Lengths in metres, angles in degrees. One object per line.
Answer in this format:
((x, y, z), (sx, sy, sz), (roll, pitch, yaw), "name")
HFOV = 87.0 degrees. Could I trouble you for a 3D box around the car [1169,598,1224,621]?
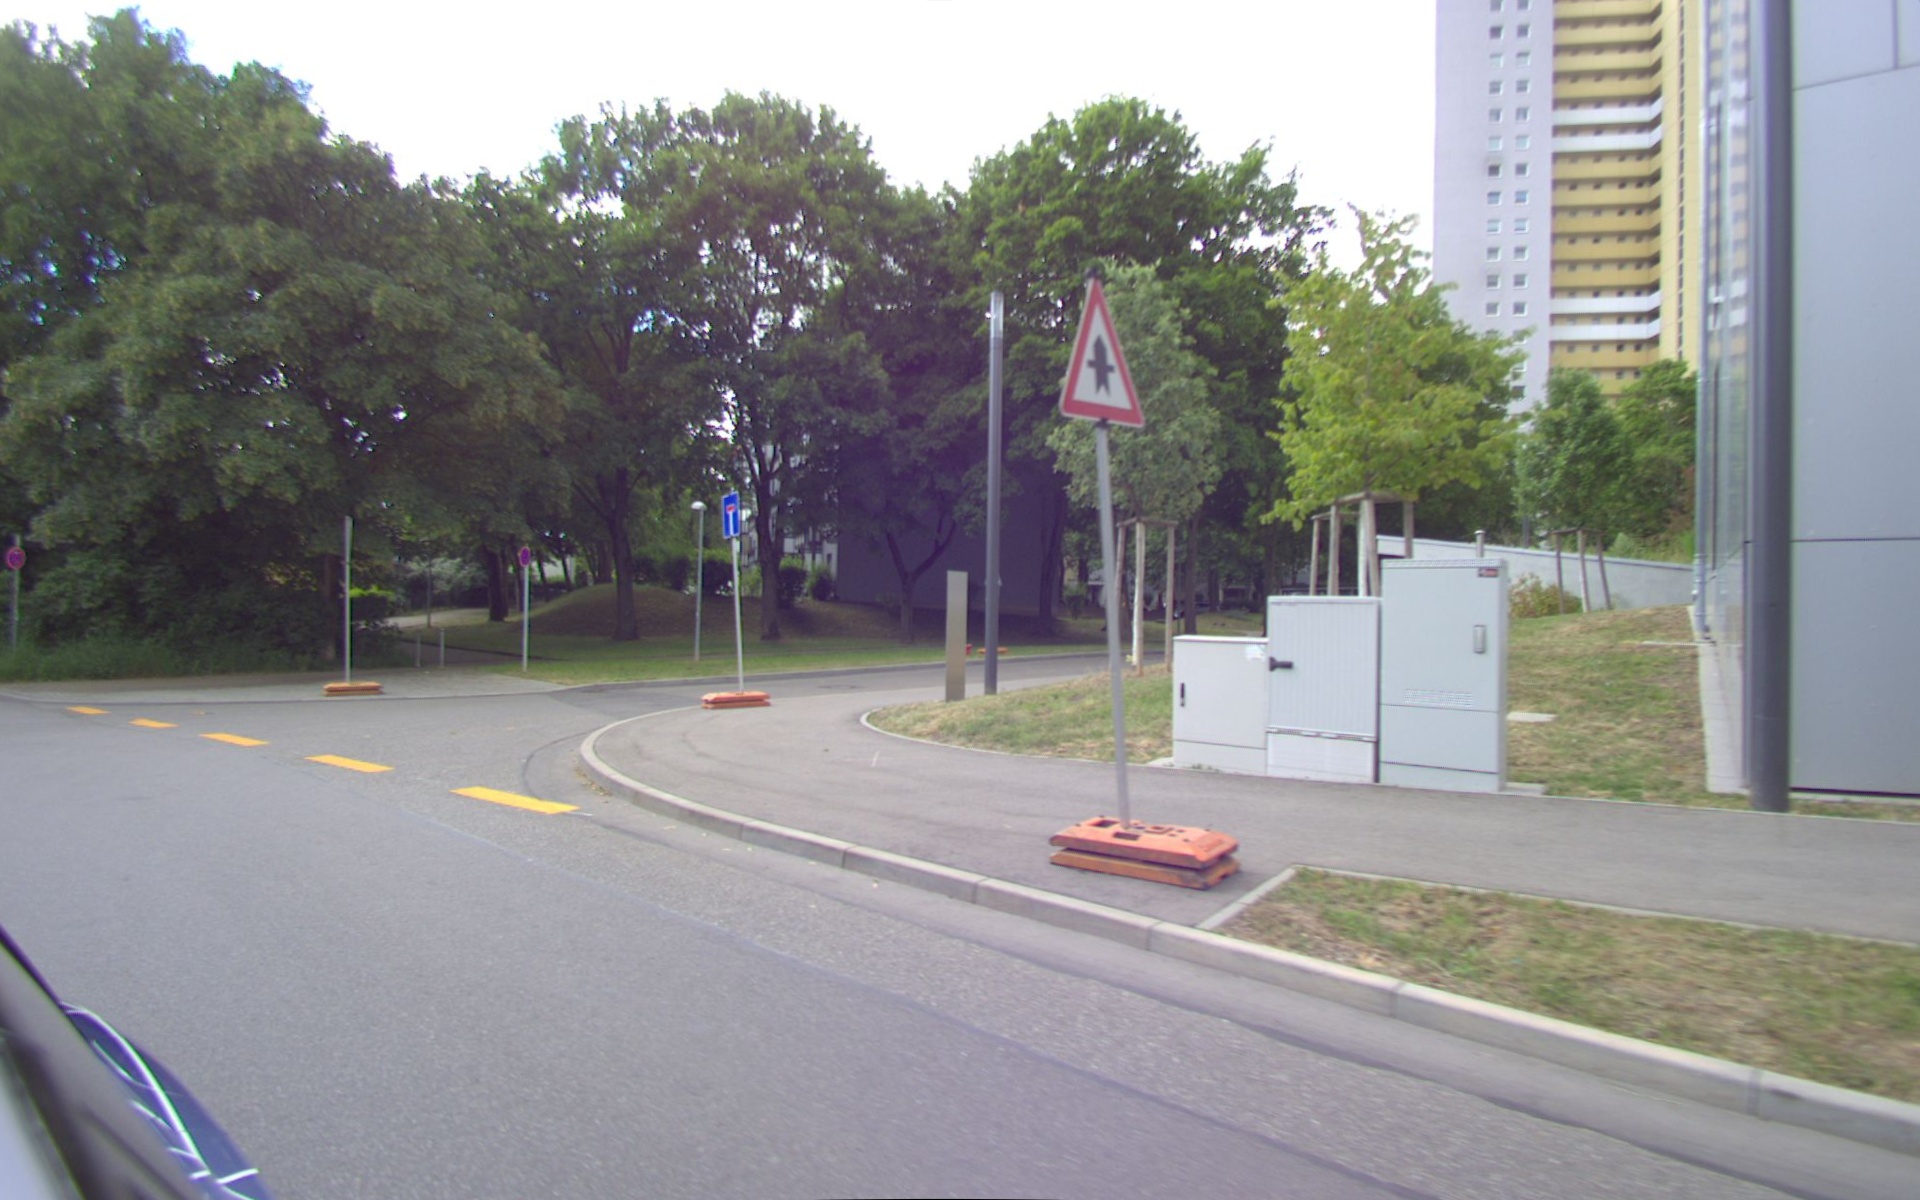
((19.136, 0.767, 82.092), (4.193, 1.780, 2.205), (0, -1, 9), "car")
